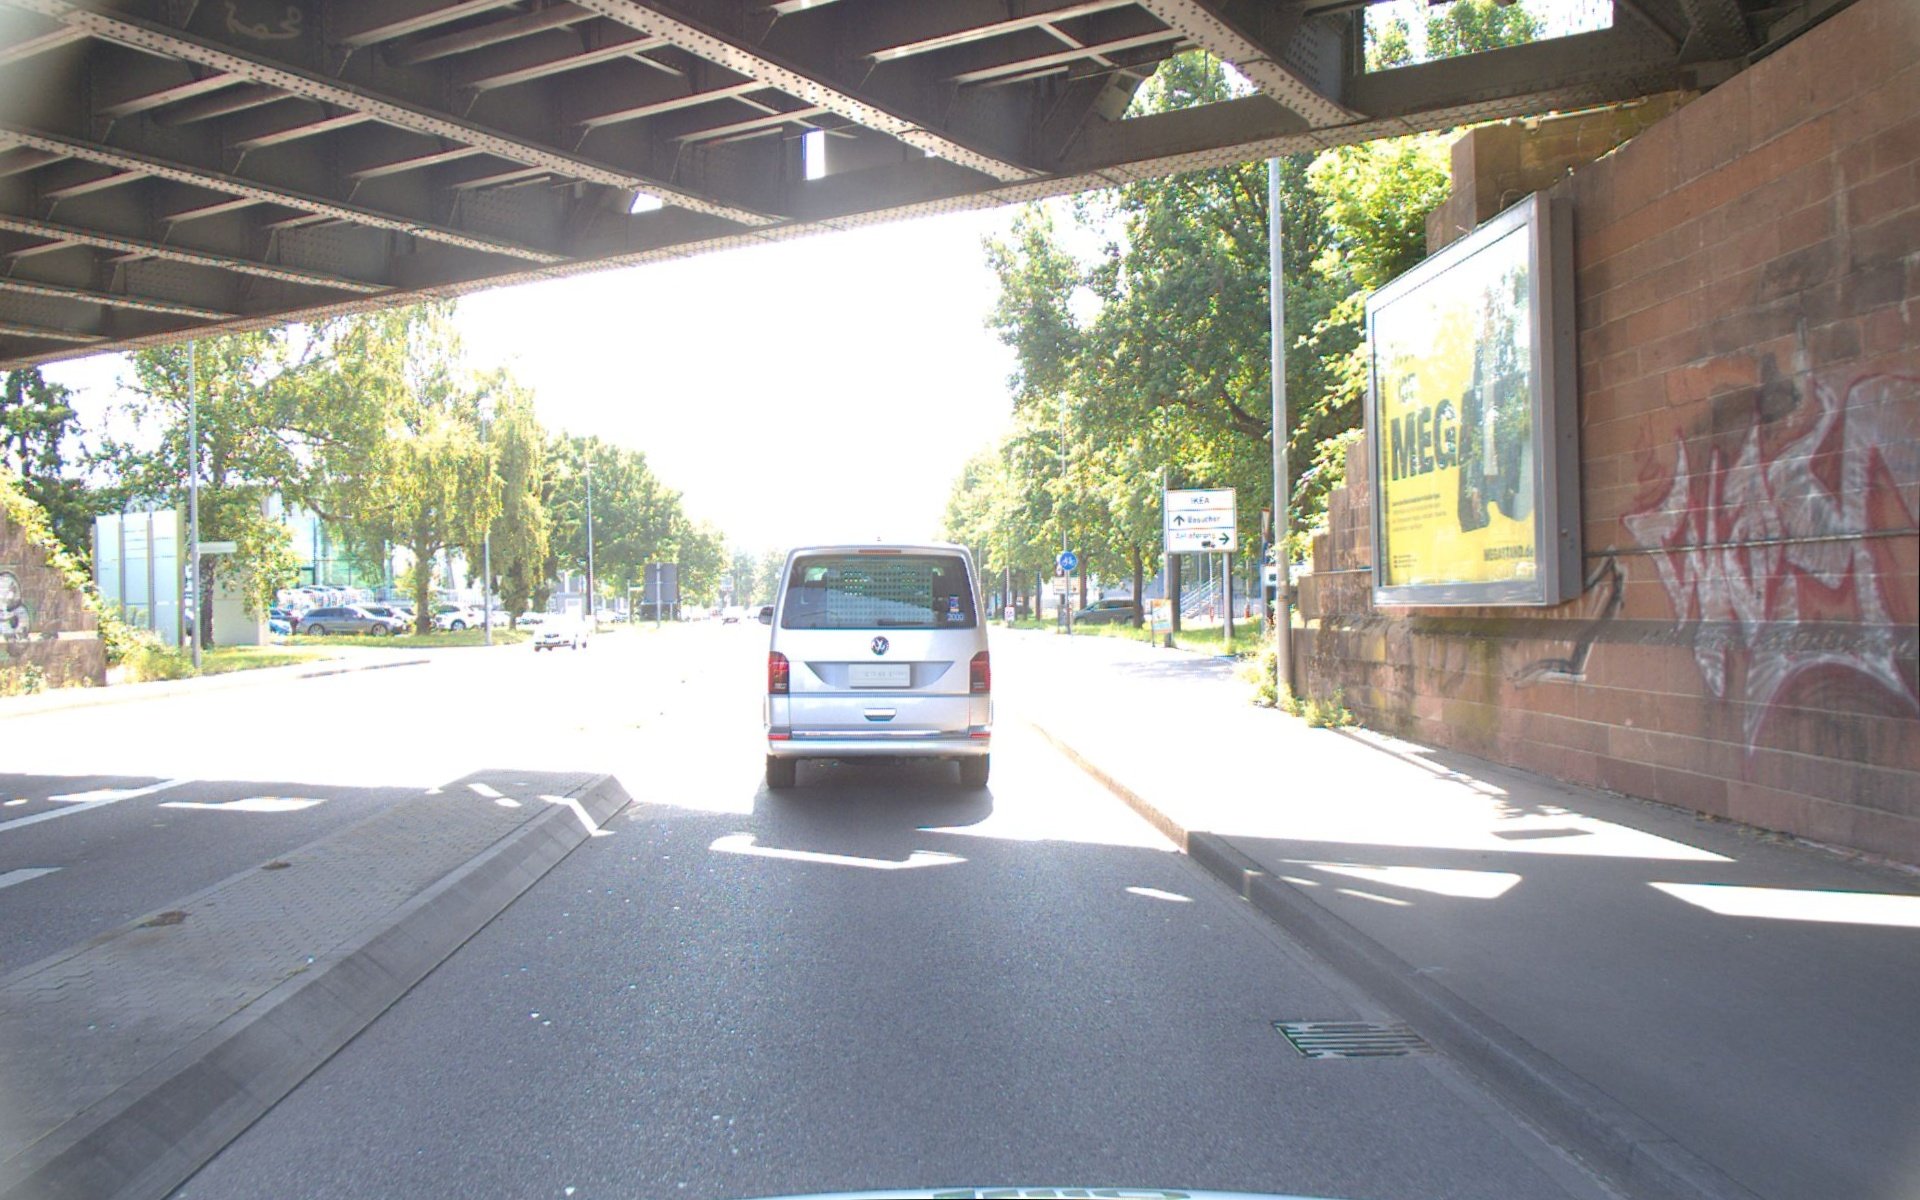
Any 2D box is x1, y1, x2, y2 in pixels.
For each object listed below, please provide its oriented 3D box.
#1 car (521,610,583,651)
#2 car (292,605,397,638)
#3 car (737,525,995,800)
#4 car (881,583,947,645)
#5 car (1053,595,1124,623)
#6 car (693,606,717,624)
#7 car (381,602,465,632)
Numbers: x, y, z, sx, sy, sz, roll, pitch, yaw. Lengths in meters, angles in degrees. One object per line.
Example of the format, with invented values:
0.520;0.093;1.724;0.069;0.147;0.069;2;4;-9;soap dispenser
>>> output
-16.601;1.216;67.402;1.931;1.518;4.076;-1;0;-7;car
-28.221;0.980;75.950;4.162;1.368;1.995;-1;0;-11;car
-1.002;0.490;14.697;1.905;2.006;5.013;0;-1;-8;car
-1.588;0.440;55.748;1.930;1.958;4.555;-1;0;-5;car
7.081;0.517;91.279;3.724;1.441;1.701;-1;0;-3;car
-22.602;1.327;146.581;1.931;1.518;4.076;-1;0;-7;car
-29.630;0.927;91.348;4.162;1.574;1.861;-1;0;-11;car
